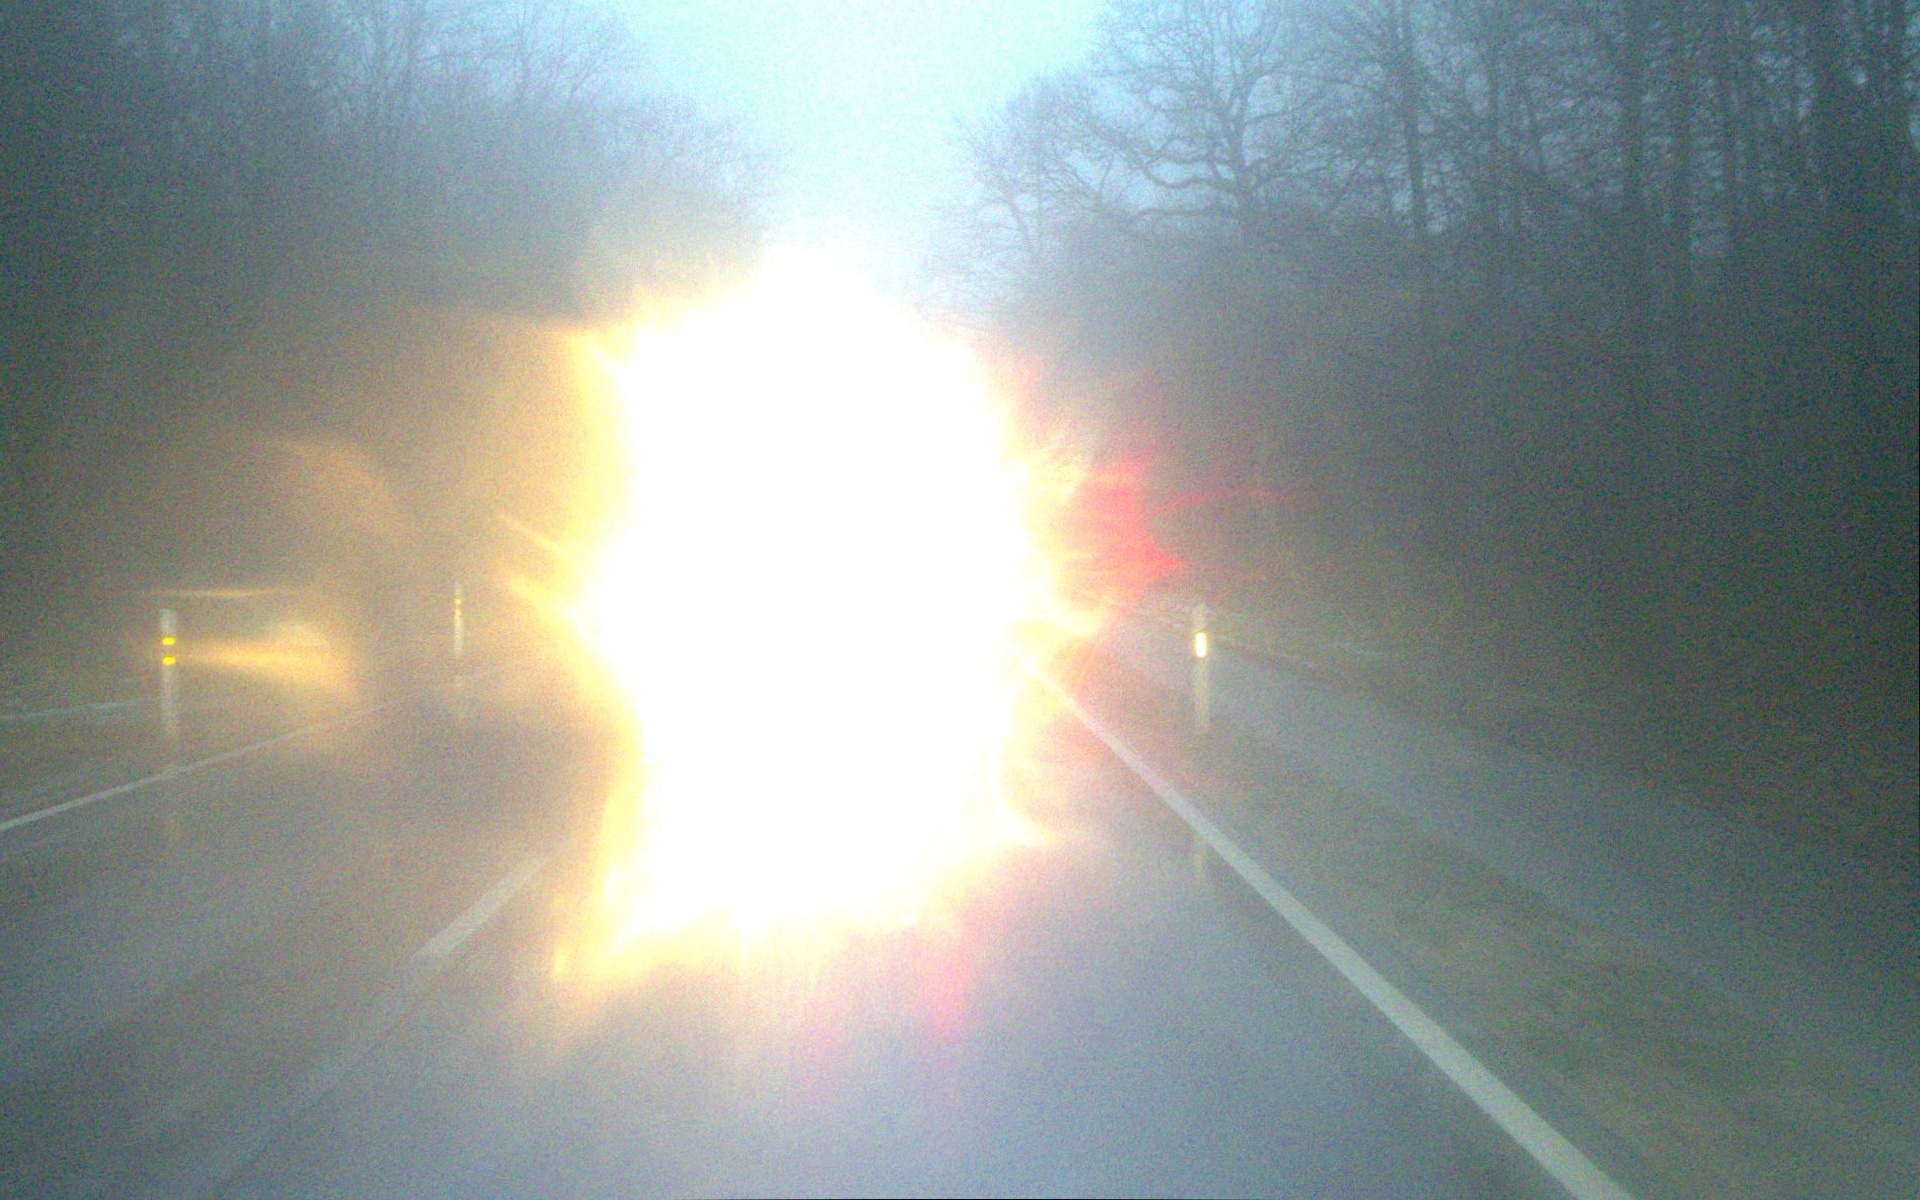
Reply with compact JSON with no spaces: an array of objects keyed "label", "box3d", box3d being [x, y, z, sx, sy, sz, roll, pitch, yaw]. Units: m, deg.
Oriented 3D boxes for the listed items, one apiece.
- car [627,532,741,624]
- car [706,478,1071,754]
[{"label":"car","box3d":[-5.025,-0.417,63.058,1.800,1.595,3.862,-1,1,-1]},{"label":"car","box3d":[-0.630,0.104,33.760,3.183,2.378,6.636,1,1,0]}]
